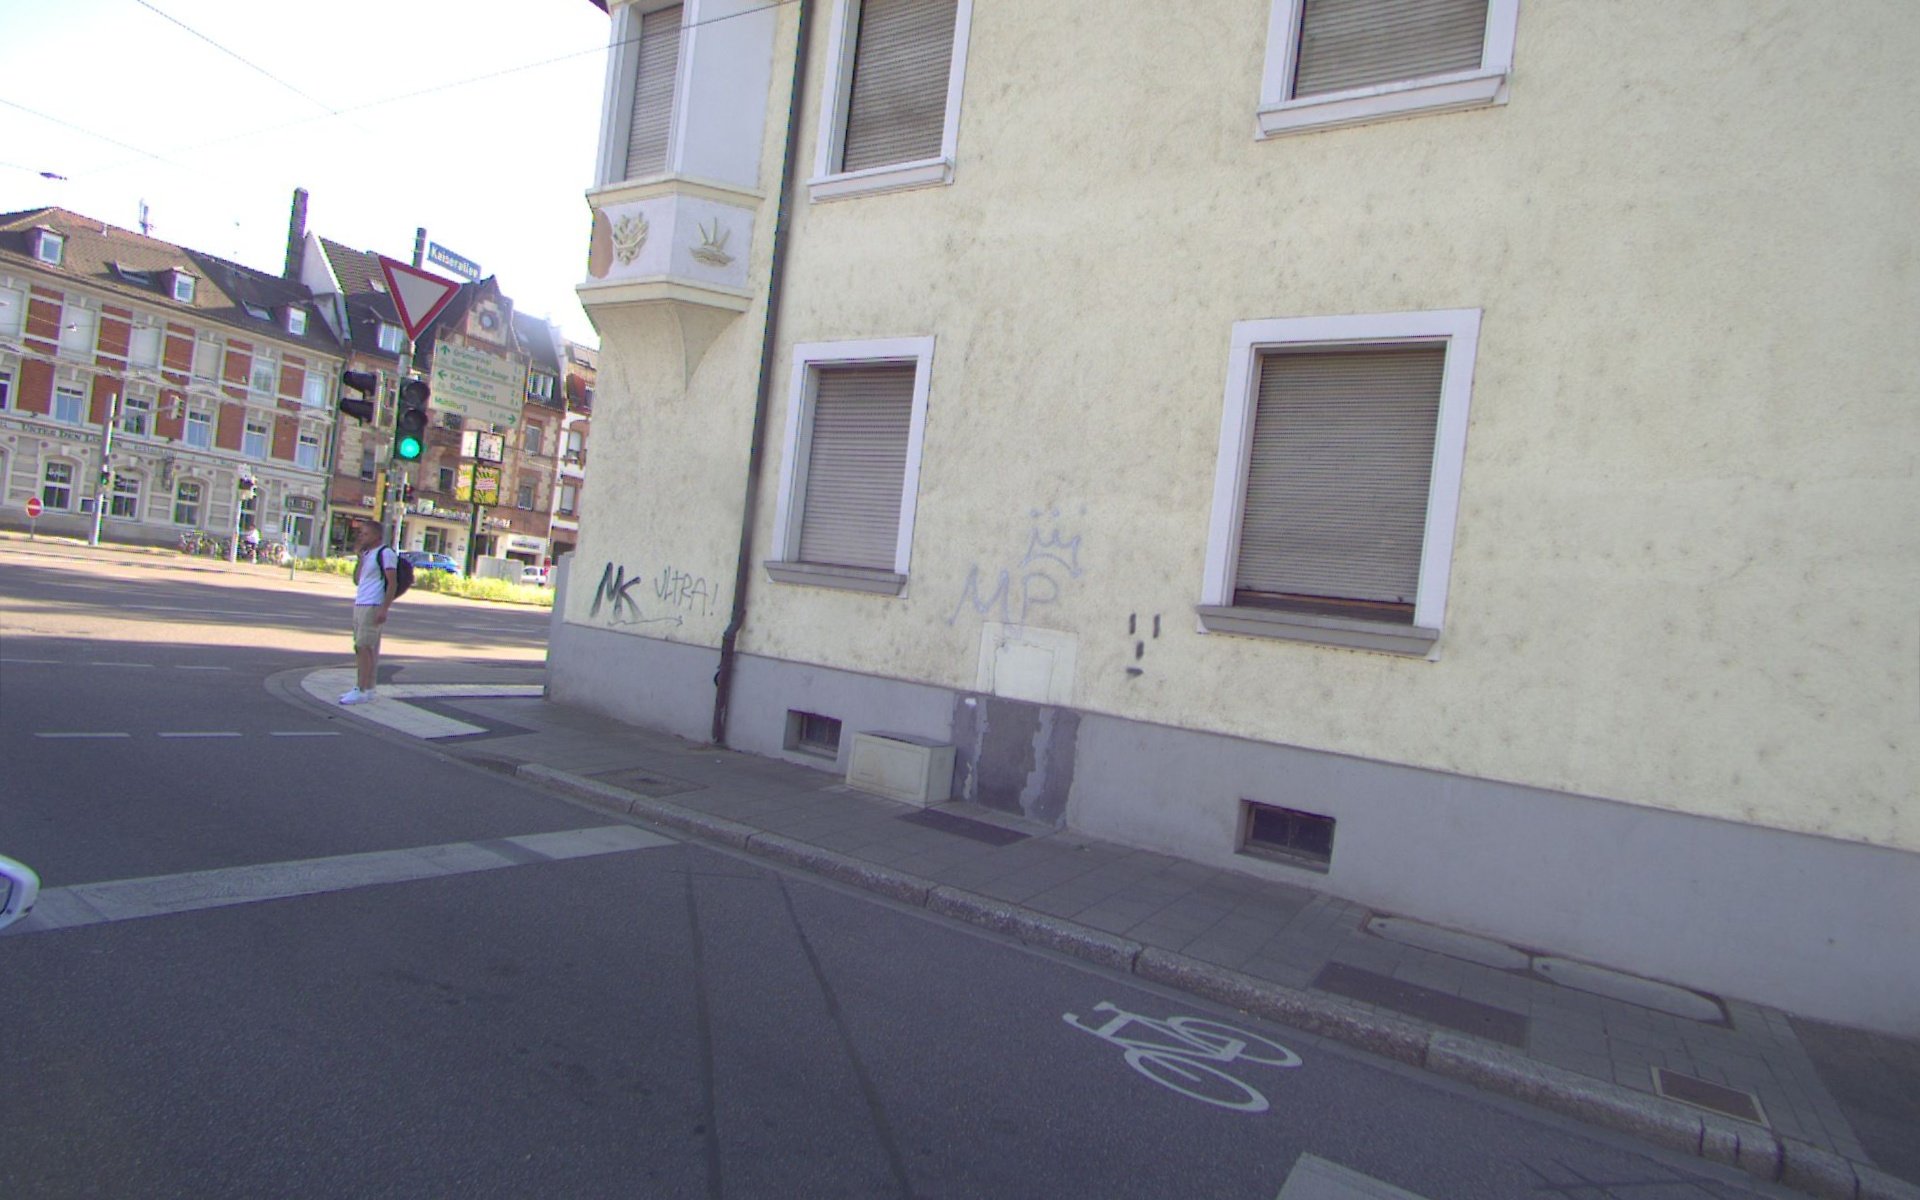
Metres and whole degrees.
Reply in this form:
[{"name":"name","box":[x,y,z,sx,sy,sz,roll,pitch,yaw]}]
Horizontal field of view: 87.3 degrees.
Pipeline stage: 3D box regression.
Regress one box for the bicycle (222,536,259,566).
[{"name":"bicycle","box":[-33.849,-2.312,47.328,1.935,1.205,0.678,7,0,33]}]

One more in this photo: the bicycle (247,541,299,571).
[{"name":"bicycle","box":[-32.884,-2.101,48.180,0.667,1.205,1.968,7,-1,20]}]

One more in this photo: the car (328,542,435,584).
[{"name":"car","box":[-27.831,-1.750,48.481,1.815,1.429,3.993,7,-1,31]}]

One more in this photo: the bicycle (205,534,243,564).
[{"name":"bicycle","box":[-34.206,-2.366,46.755,1.935,1.205,0.678,7,0,33]}]

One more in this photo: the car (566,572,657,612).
[{"name":"car","box":[-19.493,-0.417,56.461,1.922,1.688,4.480,7,-1,31]}]

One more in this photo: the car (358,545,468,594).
[{"name":"car","box":[-25.405,-1.390,46.844,1.922,1.688,3.993,7,-1,31]}]

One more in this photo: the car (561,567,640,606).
[{"name":"car","box":[-23.241,-0.854,65.199,1.922,1.988,4.411,7,-1,31]}]

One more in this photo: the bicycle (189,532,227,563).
[{"name":"bicycle","box":[-34.546,-2.404,46.199,1.935,1.205,0.678,7,0,33]}]

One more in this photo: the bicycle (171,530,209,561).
[{"name":"bicycle","box":[-34.886,-2.489,45.586,1.935,1.205,0.678,7,0,33]}]

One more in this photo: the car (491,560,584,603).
[{"name":"car","box":[-21.922,-0.912,52.348,1.922,1.688,3.993,7,-1,31]}]

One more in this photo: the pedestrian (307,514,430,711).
[{"name":"pedestrian","box":[-5.622,0.114,9.596,0.661,1.764,0.689,5,2,2]}]

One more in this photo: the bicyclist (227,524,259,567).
[{"name":"bicyclist","box":[-32.378,-2.447,45.459,0.592,1.785,0.873,7,0,34]}]

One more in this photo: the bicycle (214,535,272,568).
[{"name":"bicycle","box":[-32.398,-2.200,45.470,0.592,1.205,1.962,7,-1,34]}]
